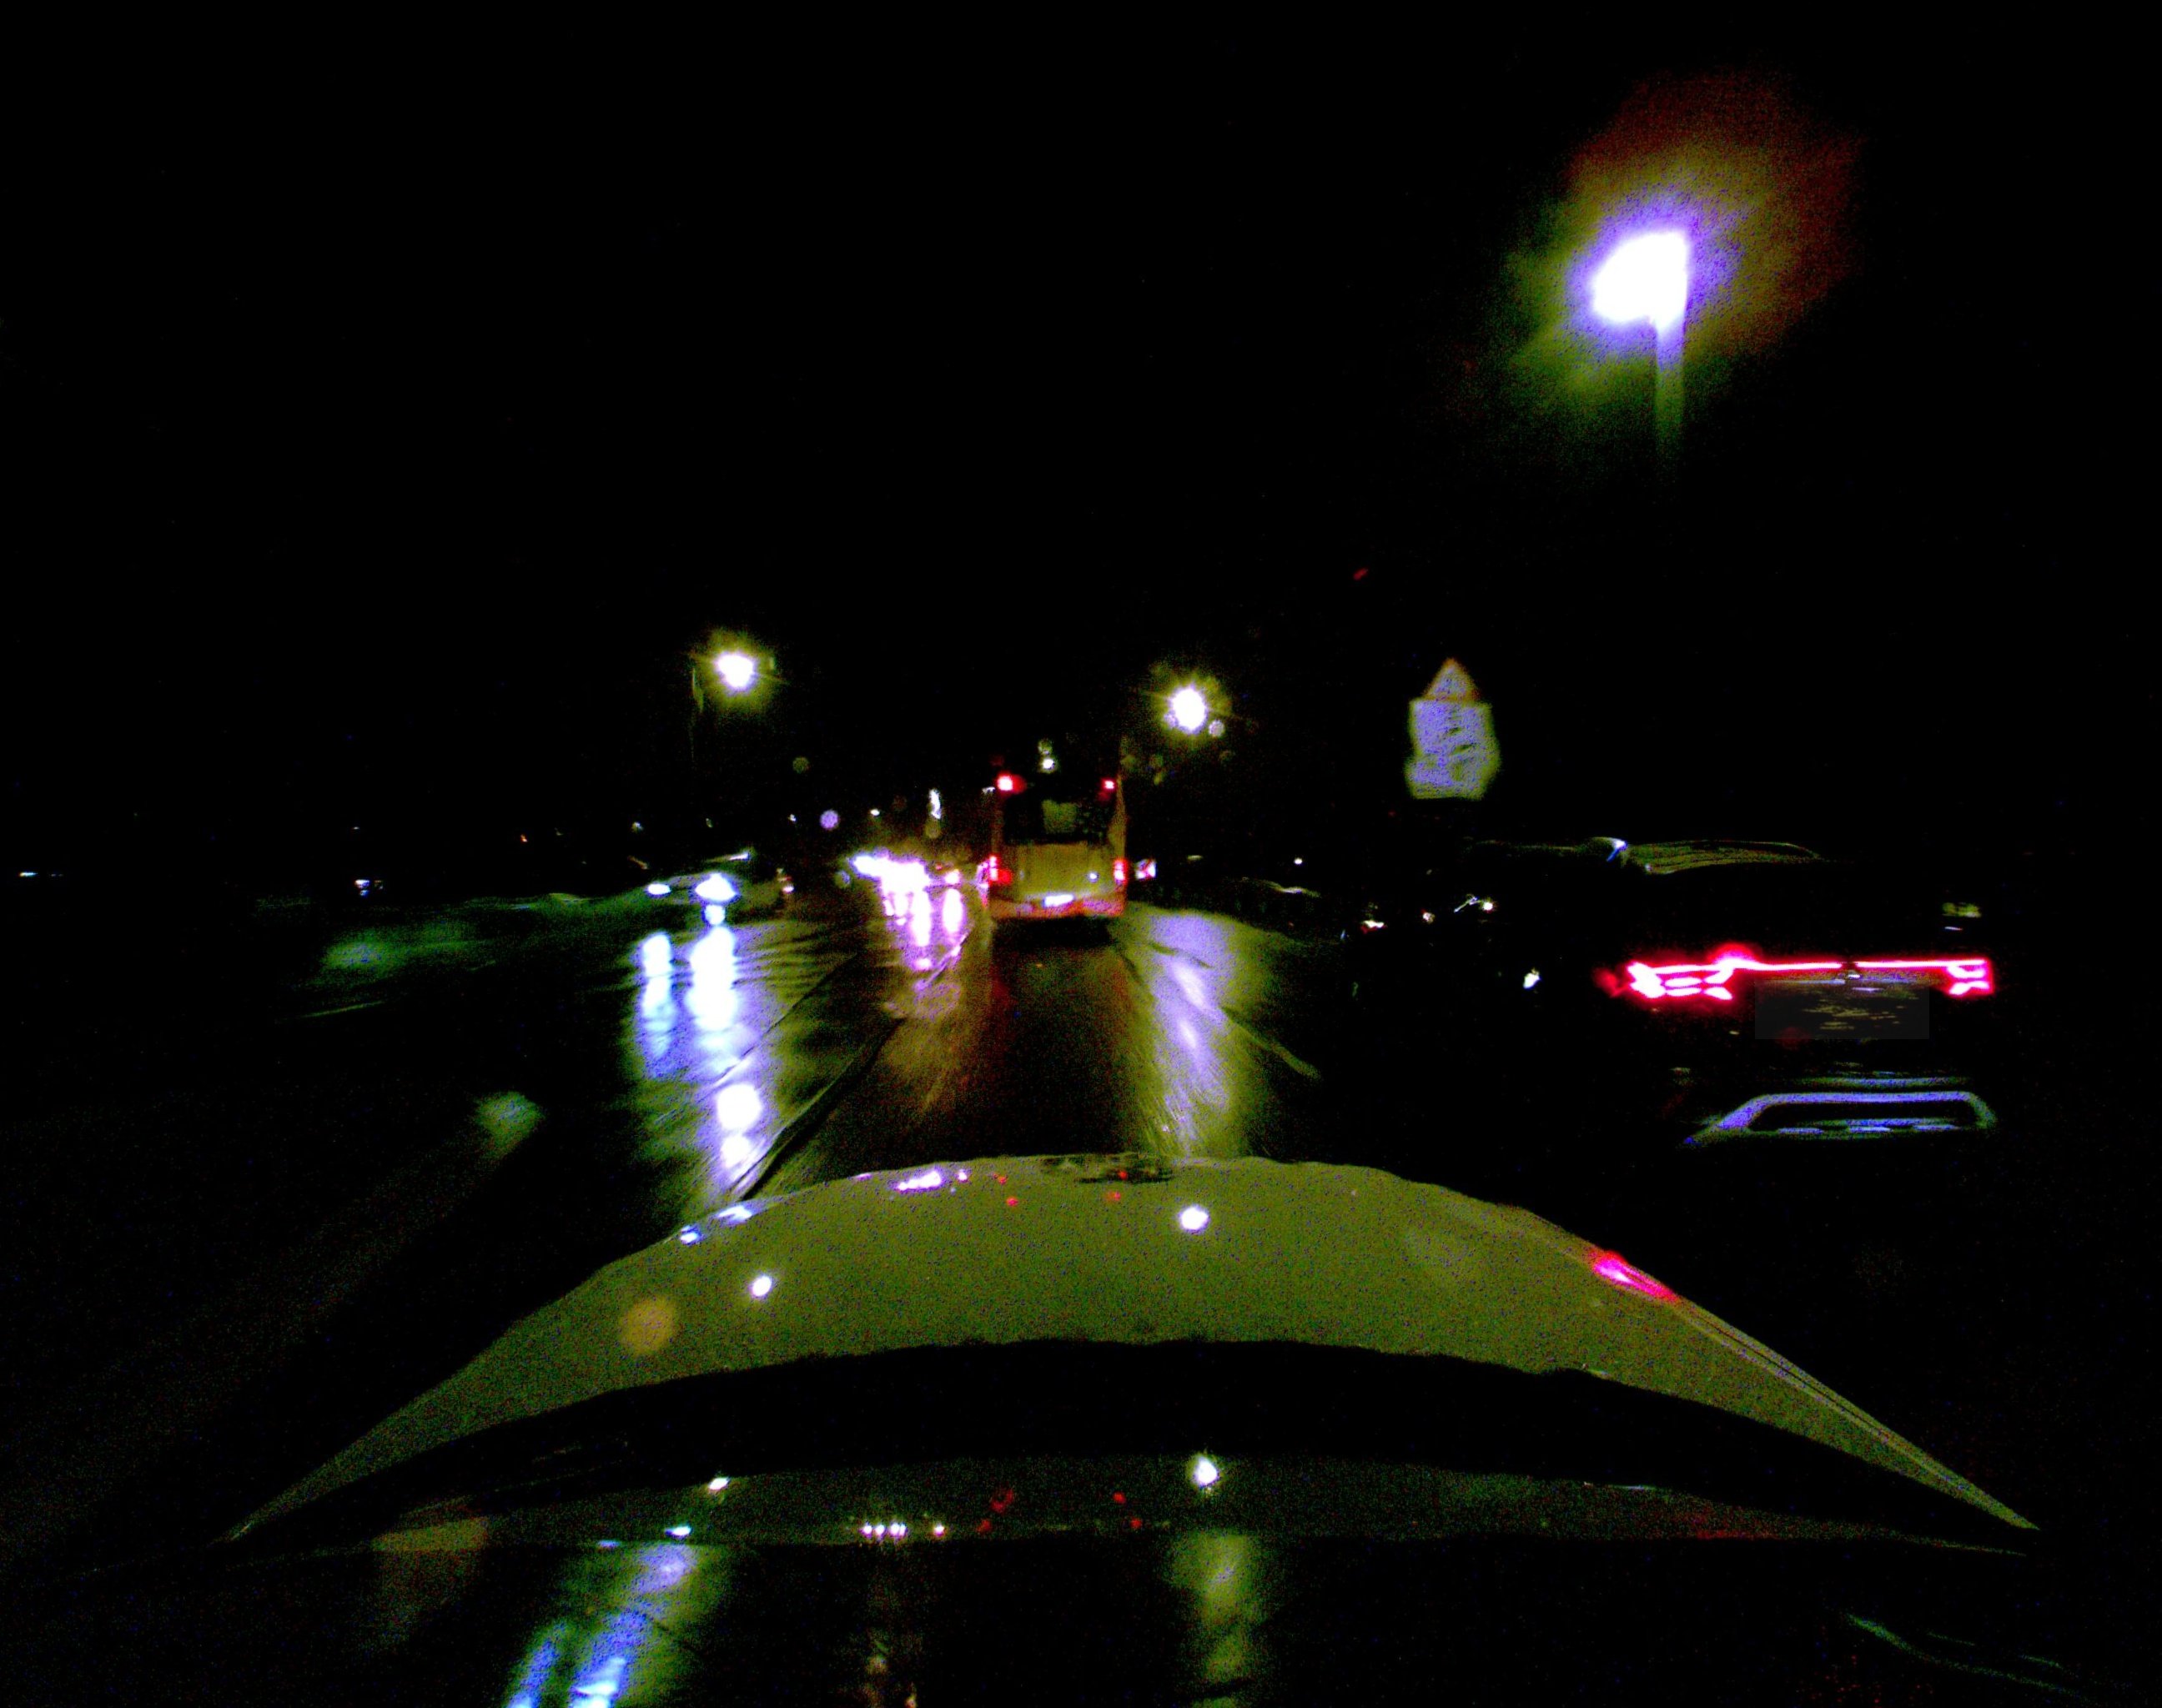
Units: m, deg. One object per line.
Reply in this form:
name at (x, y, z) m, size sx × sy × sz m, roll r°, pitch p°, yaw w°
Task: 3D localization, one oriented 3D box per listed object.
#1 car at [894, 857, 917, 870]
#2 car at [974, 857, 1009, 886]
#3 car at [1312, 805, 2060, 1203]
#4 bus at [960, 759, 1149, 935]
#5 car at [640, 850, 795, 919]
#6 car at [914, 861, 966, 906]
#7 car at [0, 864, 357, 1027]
car at (-21.915, 1.200, 101.581) m, size 1.825 × 1.618 × 3.965 m, roll 3°, pitch -2°, yaw -26°
car at (-6.655, 1.304, 60.385) m, size 1.996 × 2.014 × 4.328 m, roll 2°, pitch -2°, yaw -13°
car at (2.975, 0.644, 5.175) m, size 1.673 × 1.522 × 3.955 m, roll 2°, pitch -2°, yaw -3°
bus at (-0.700, -0.311, 19.058) m, size 3.278 × 3.049 × 9.535 m, roll 1°, pitch 2°, yaw -3°
car at (-9.386, 0.714, 21.514) m, size 1.874 × 1.607 × 4.661 m, roll -1°, pitch 0°, yaw 1°
car at (-6.758, 1.407, 39.499) m, size 1.990 × 2.014 × 4.342 m, roll 1°, pitch -2°, yaw -4°
car at (-10.606, 0.849, 8.310) m, size 1.813 × 1.448 × 4.669 m, roll 2°, pitch -2°, yaw 8°
